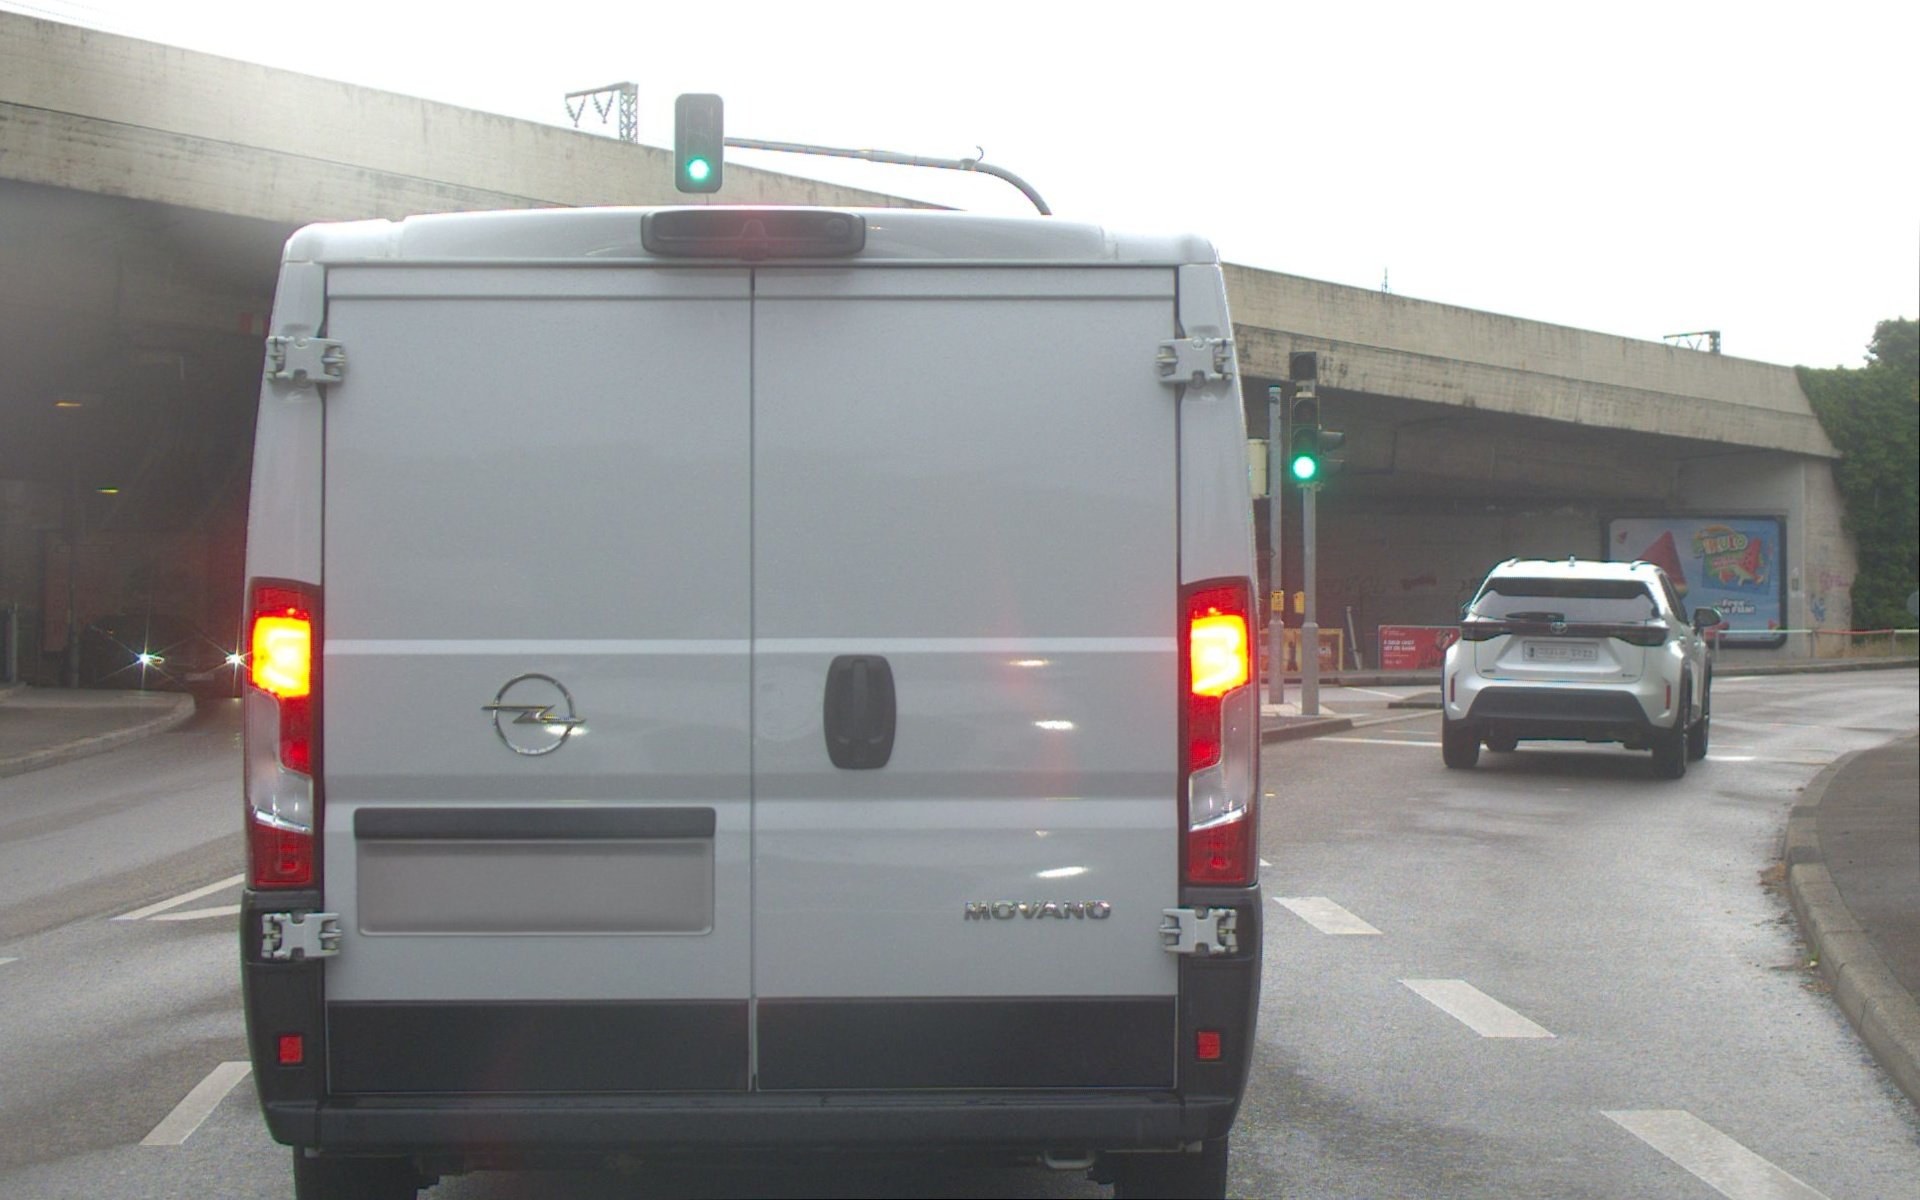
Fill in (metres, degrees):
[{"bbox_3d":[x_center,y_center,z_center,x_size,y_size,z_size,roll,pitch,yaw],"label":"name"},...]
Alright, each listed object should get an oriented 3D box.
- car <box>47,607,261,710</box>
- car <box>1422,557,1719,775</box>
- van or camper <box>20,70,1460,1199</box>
[{"bbox_3d":[-13.197,0.929,56.110,1.993,1.525,4.500,0,1,-33],"label":"car"},{"bbox_3d":[4.729,0.449,26.225,1.877,1.525,3.997,0,0,15],"label":"car"},{"bbox_3d":[-0.516,0.204,8.925,2.698,2.408,4.904,0,0,-3],"label":"van or camper"}]
